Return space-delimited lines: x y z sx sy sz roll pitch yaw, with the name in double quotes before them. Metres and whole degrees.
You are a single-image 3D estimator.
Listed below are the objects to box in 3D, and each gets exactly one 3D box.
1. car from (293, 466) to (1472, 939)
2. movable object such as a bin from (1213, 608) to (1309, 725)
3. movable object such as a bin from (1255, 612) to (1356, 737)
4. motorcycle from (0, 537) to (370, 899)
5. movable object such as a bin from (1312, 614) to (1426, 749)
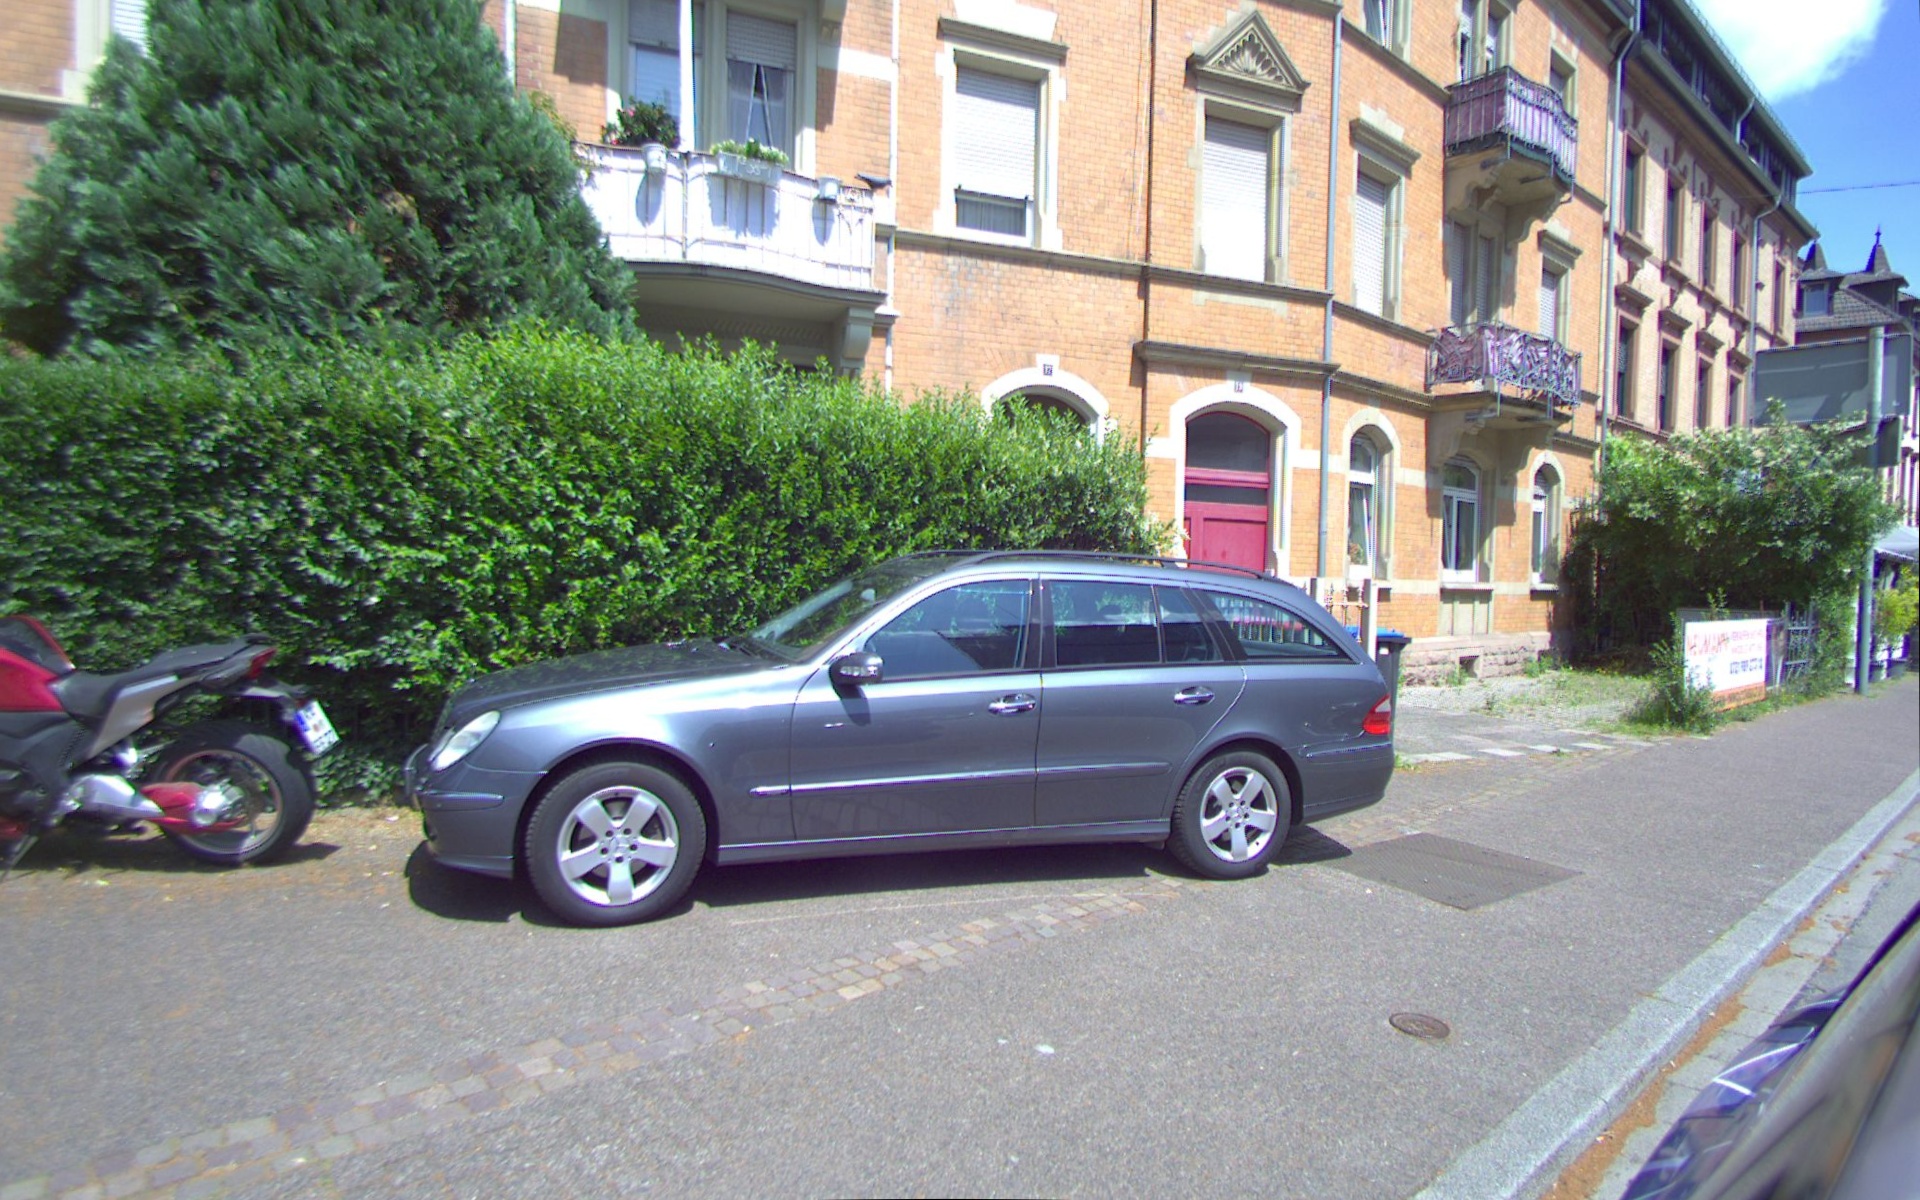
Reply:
"car" -0.138 0.377 5.090 5.047 1.567 1.845 2 2 -20
"movable object such as a bin" 2.952 0.628 9.938 0.691 1.085 0.578 1 1 -31
"movable object such as a bin" 3.201 0.665 9.377 0.691 1.085 0.554 1 1 -31
"motorcycle" -3.777 0.412 4.087 2.232 1.318 0.935 2 1 -19
"movable object such as a bin" 3.531 0.678 8.756 0.624 1.085 0.652 1 1 -30
